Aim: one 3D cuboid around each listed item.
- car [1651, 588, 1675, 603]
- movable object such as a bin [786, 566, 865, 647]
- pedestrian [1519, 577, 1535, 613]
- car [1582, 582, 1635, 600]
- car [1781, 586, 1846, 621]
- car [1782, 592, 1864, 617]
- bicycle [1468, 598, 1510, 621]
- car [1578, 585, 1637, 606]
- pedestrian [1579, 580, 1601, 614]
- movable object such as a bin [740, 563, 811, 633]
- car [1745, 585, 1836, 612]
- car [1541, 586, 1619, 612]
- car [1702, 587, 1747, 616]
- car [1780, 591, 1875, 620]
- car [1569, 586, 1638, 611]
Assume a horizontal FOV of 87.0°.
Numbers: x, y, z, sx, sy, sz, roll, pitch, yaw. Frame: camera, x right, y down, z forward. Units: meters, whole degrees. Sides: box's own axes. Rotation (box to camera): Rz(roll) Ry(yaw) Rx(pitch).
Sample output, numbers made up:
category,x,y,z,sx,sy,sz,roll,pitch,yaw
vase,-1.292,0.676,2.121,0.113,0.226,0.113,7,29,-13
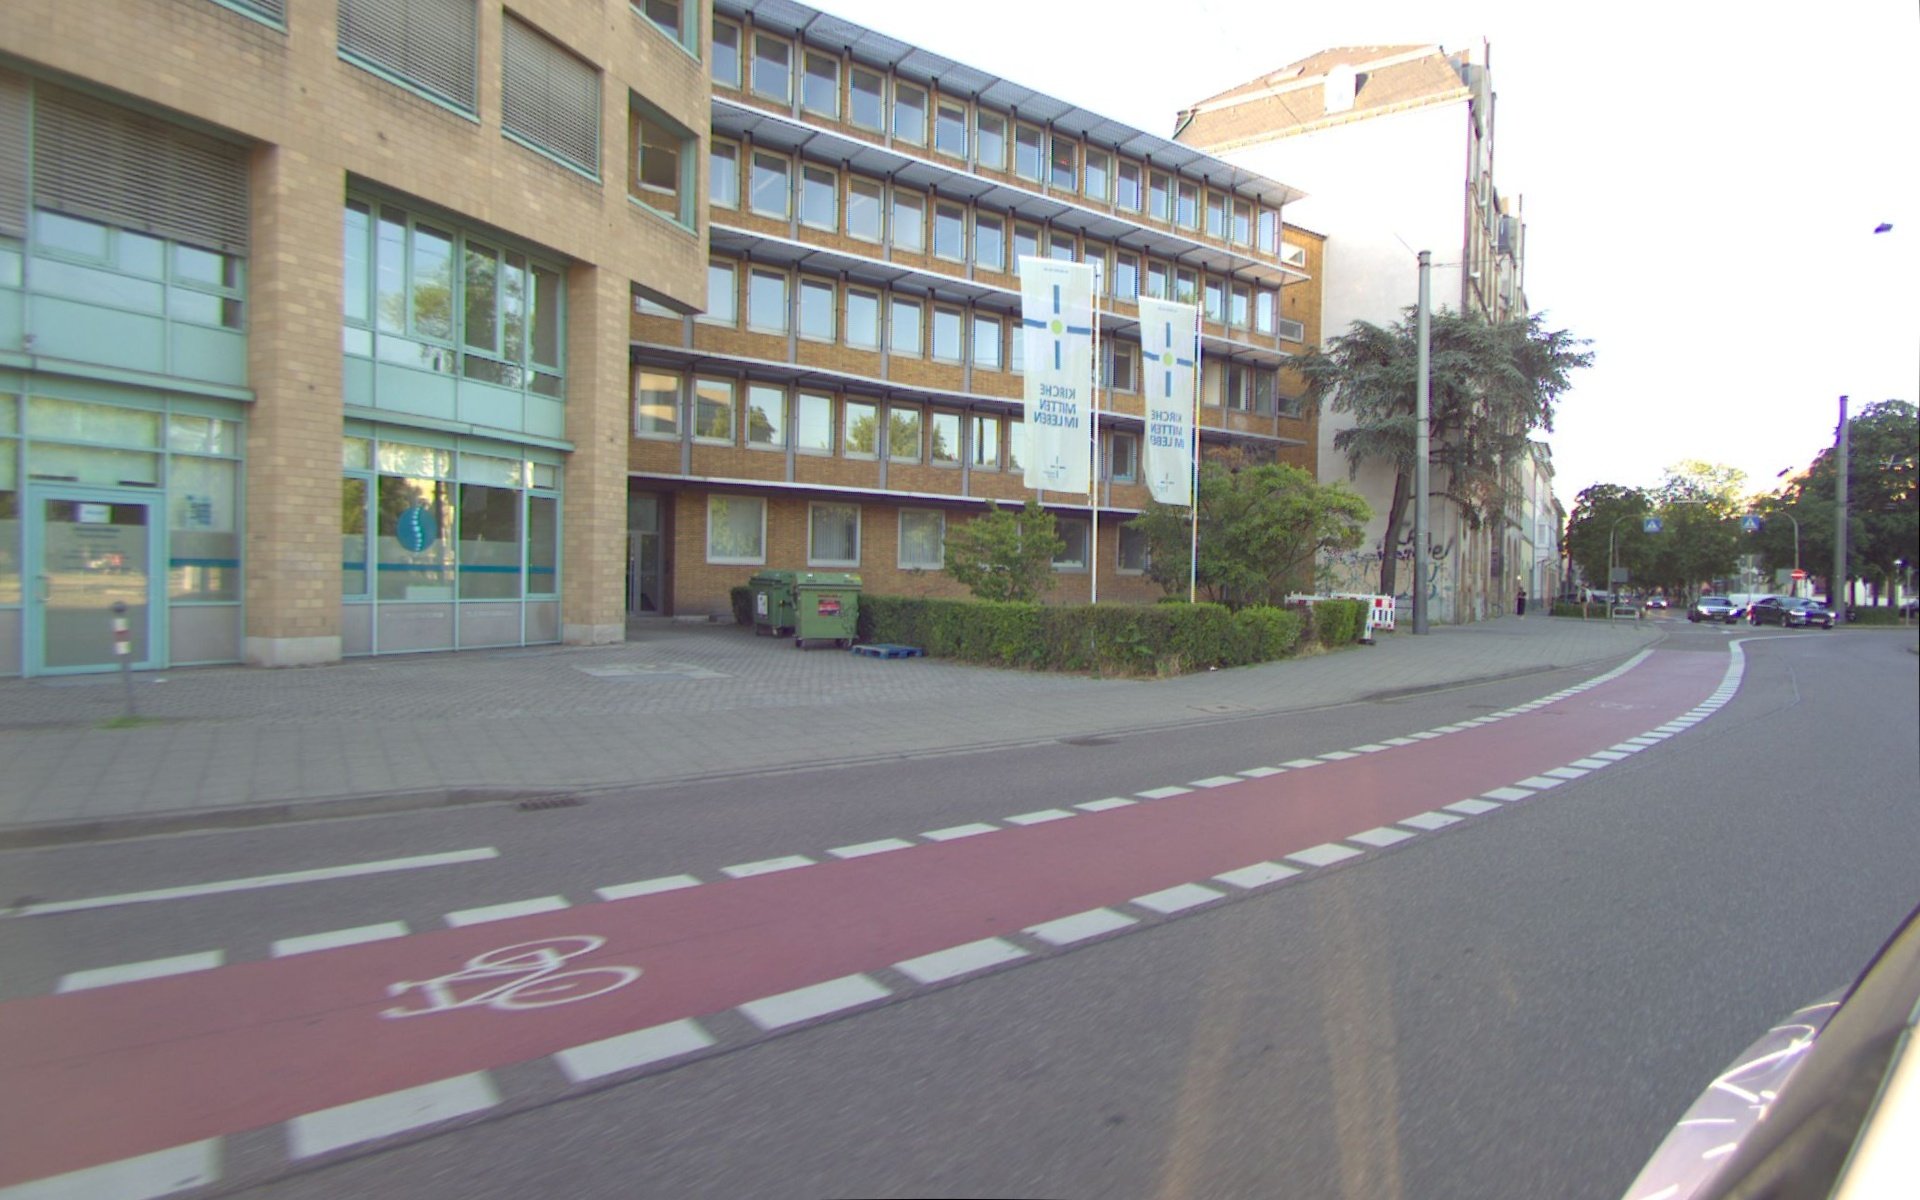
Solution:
category,x,y,z,sx,sy,sz,roll,pitch,yaw
car,77.463,-0.479,111.469,1.813,1.501,4.074,2,0,41
movable object such as a bin,-2.560,0.107,19.177,1.316,1.455,0.976,2,0,-16
pedestrian,28.428,-0.250,50.743,0.574,1.730,0.712,2,0,37
car,63.804,-0.885,99.626,4.368,1.633,1.709,3,1,33
car,39.580,0.165,47.015,1.809,1.501,4.084,3,1,34
car,60.267,0.328,70.718,1.965,1.571,4.063,2,1,-41
bicycle,26.599,0.471,50.895,1.843,1.086,0.424,3,1,33
car,53.731,-0.354,84.089,4.040,1.571,1.976,3,1,33
pedestrian,34.204,-0.187,54.935,0.804,1.814,0.593,2,0,-24
movable object such as a bin,-3.993,-0.050,21.883,0.908,1.442,1.343,2,1,-42
car,65.351,-0.115,79.709,2.080,1.926,5.086,2,1,-33
car,42.283,-0.072,69.063,4.372,1.577,1.814,3,1,36
car,43.113,0.109,57.054,1.813,1.501,4.076,3,1,39
car,51.909,0.327,60.607,1.833,1.576,4.063,2,1,-41
car,46.216,-0.096,72.697,4.045,1.589,1.813,3,1,37
